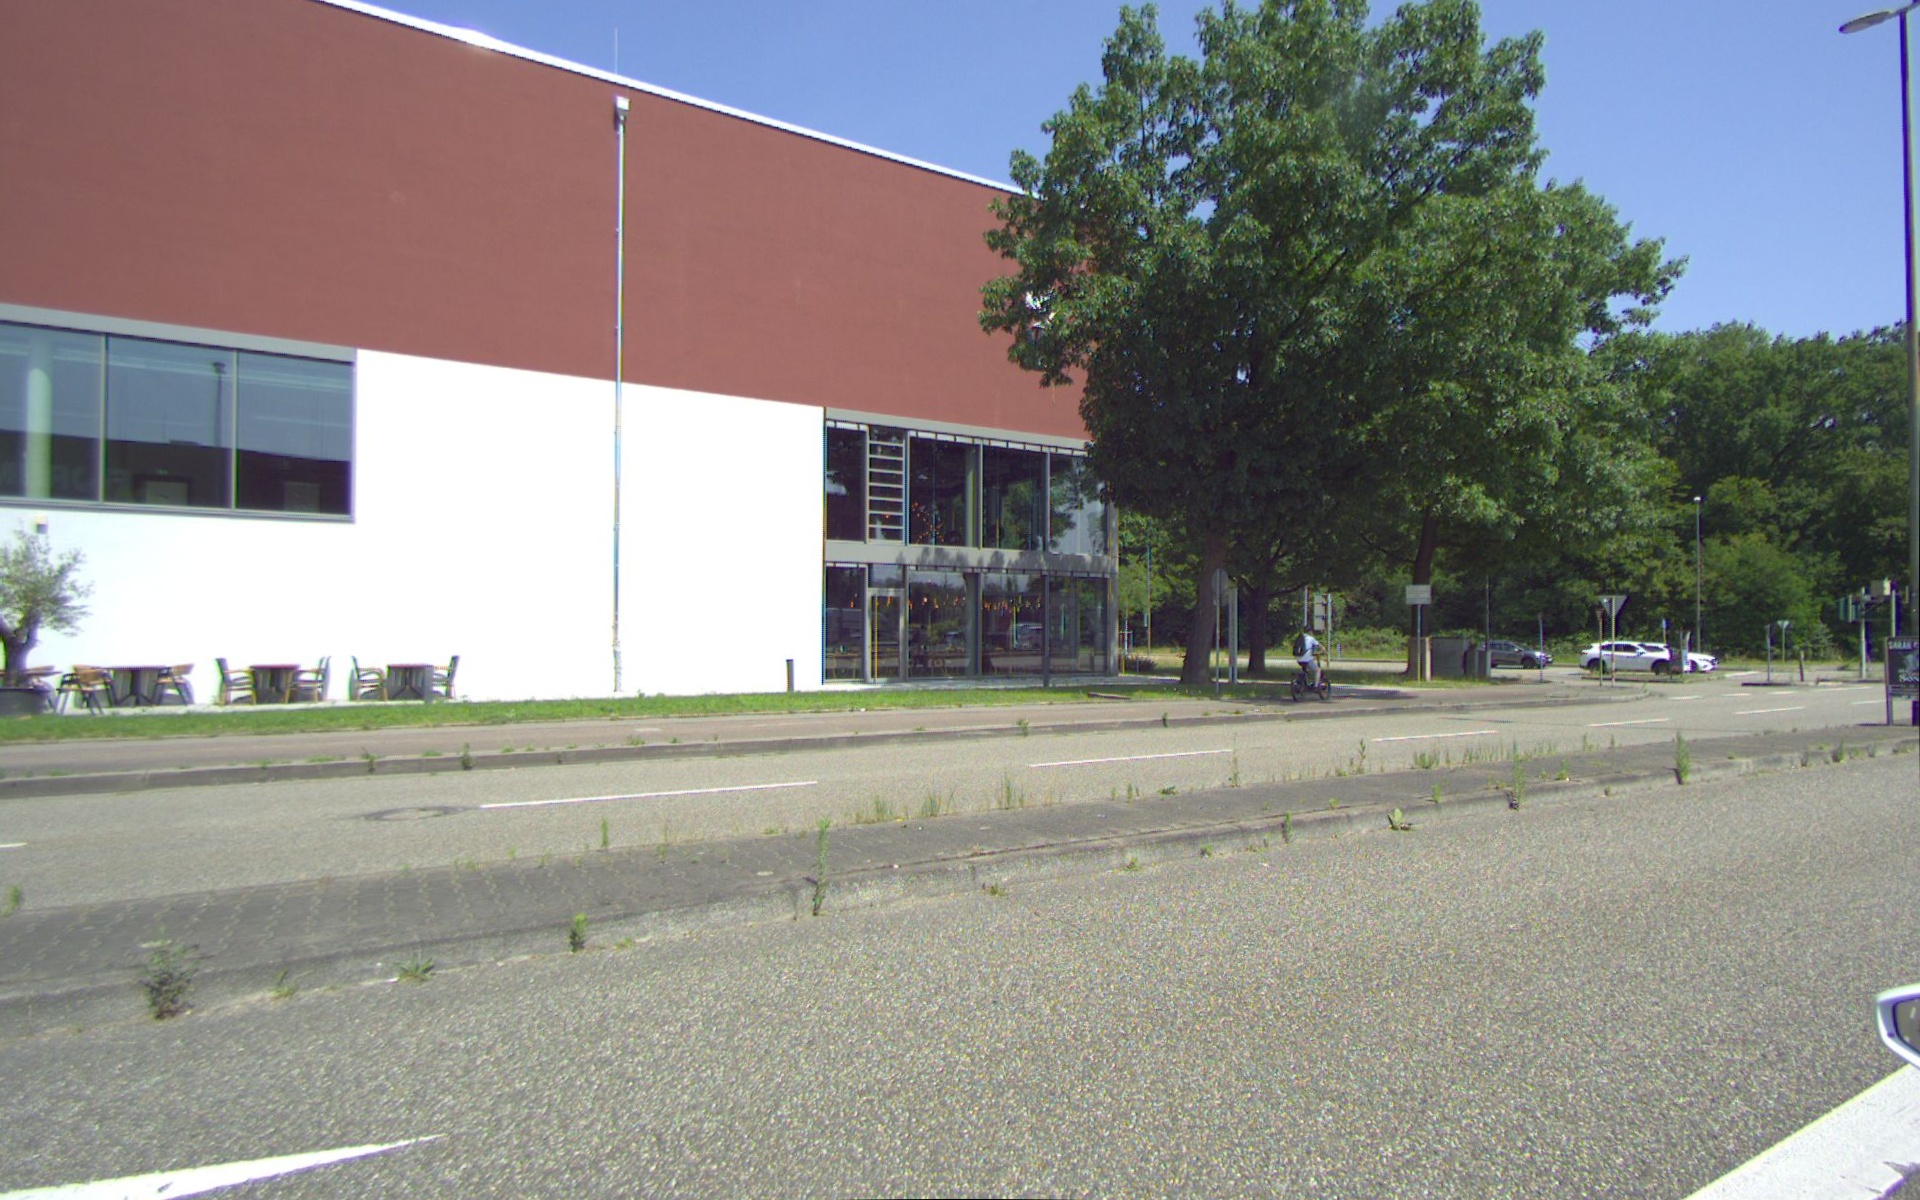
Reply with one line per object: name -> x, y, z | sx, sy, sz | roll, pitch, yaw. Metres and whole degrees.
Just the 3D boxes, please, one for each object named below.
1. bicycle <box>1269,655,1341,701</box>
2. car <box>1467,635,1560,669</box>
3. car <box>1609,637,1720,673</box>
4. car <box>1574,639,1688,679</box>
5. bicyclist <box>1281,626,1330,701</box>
bicycle -> 7.788, 1.750, 22.658 | 1.640, 0.982, 0.614 | 1, -2, -30
car -> 32.051, 2.975, 58.251 | 1.796, 1.704, 4.332 | 2, -1, -41
car -> 36.417, 2.880, 52.009 | 1.794, 1.703, 4.340 | 2, -6, -37
car -> 33.269, 2.898, 49.904 | 1.794, 1.704, 4.338 | 2, 0, -37
bicyclist -> 7.785, 1.422, 22.664 | 0.913, 1.652, 0.605 | 1, -2, -30
